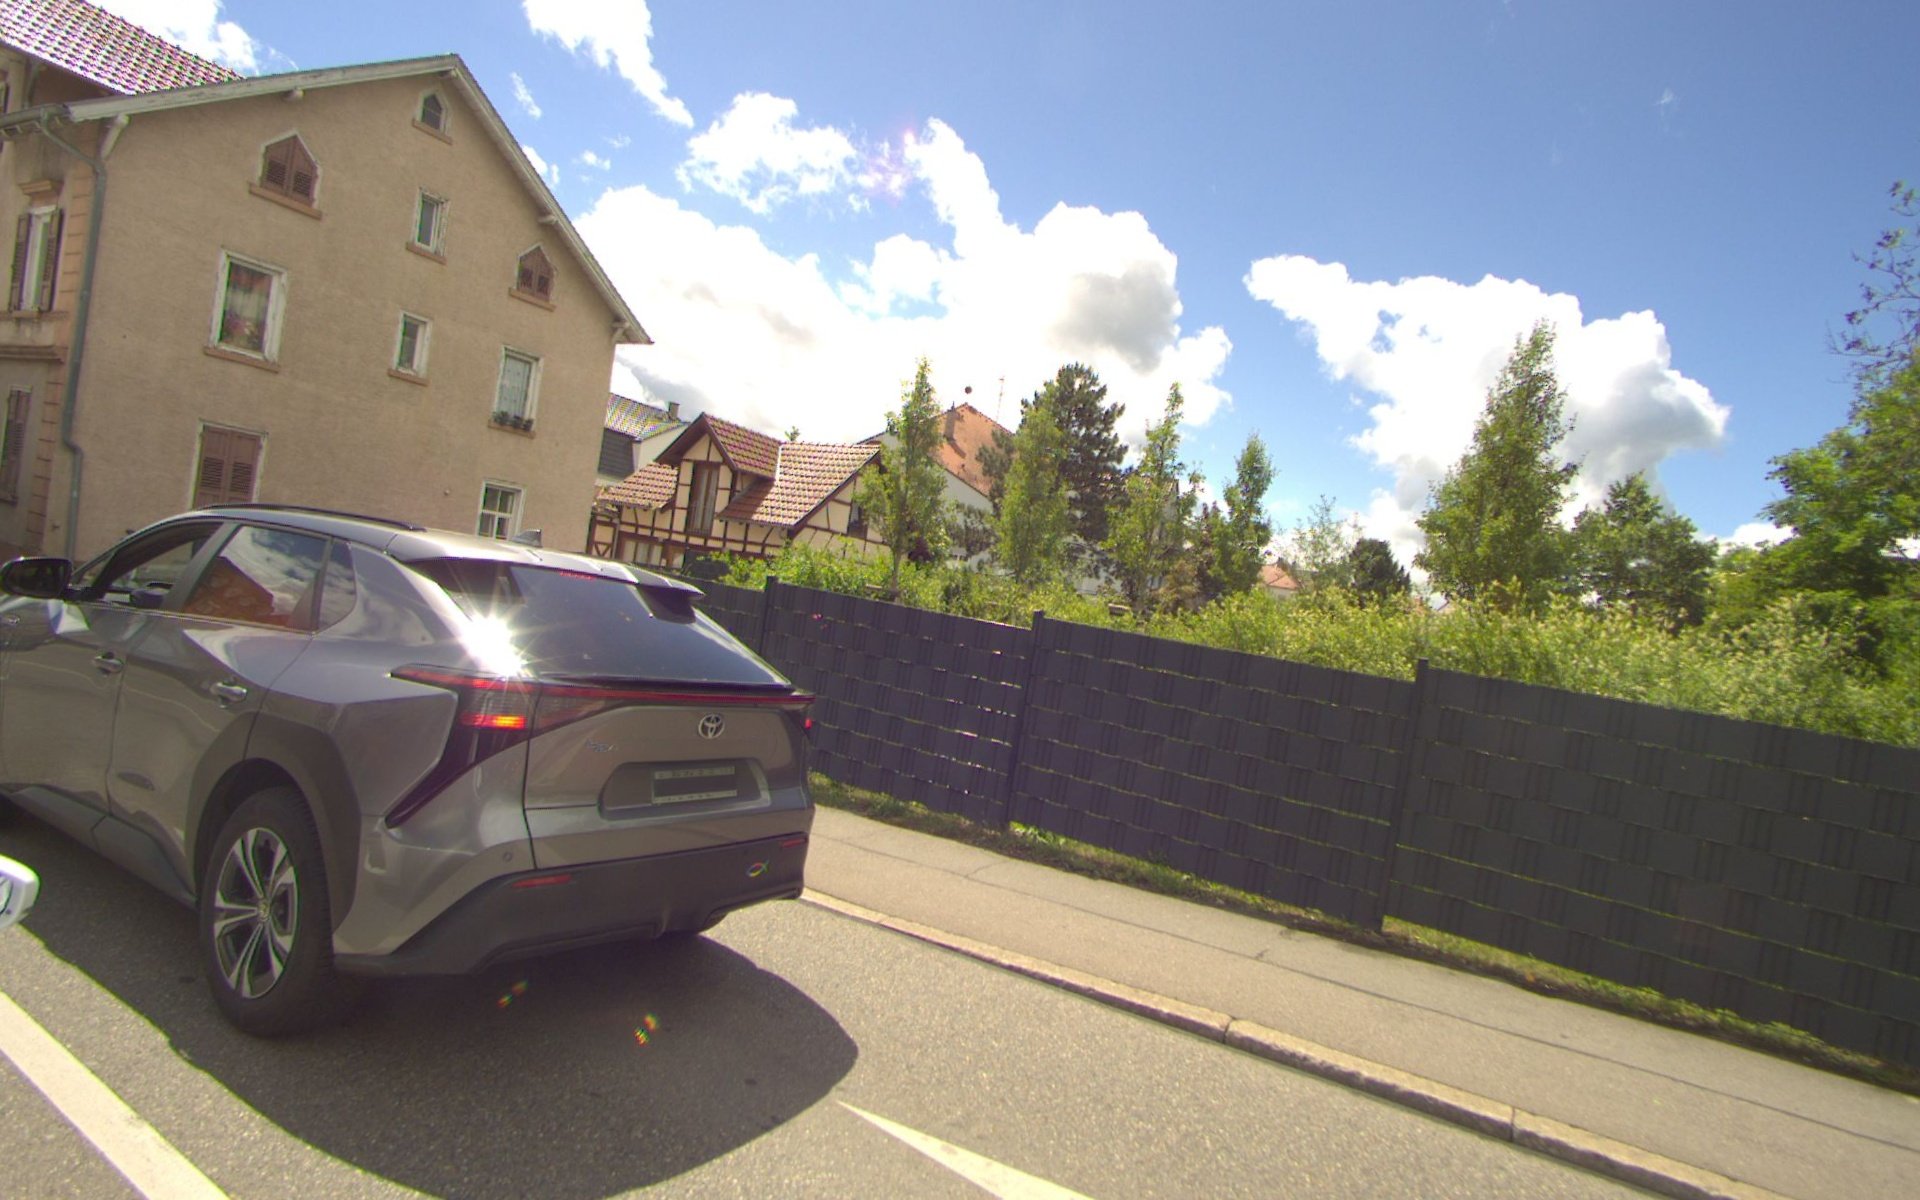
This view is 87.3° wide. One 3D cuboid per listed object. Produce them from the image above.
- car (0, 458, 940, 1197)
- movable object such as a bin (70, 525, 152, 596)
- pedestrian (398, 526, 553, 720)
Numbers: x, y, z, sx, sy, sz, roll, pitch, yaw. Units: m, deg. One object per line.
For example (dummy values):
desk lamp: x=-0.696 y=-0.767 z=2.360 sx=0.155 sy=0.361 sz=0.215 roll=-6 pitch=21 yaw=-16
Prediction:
car: x=-2.624 y=0.451 z=4.408 sx=4.605 sy=1.631 sz=1.924 roll=7 pitch=-2 yaw=32
movable object such as a bin: x=-13.981 y=-0.649 z=16.579 sx=0.736 sy=1.025 sz=0.776 roll=7 pitch=1 yaw=32
pedestrian: x=-4.283 y=0.209 z=8.916 sx=0.700 sy=1.581 sz=0.860 roll=7 pitch=1 yaw=31
